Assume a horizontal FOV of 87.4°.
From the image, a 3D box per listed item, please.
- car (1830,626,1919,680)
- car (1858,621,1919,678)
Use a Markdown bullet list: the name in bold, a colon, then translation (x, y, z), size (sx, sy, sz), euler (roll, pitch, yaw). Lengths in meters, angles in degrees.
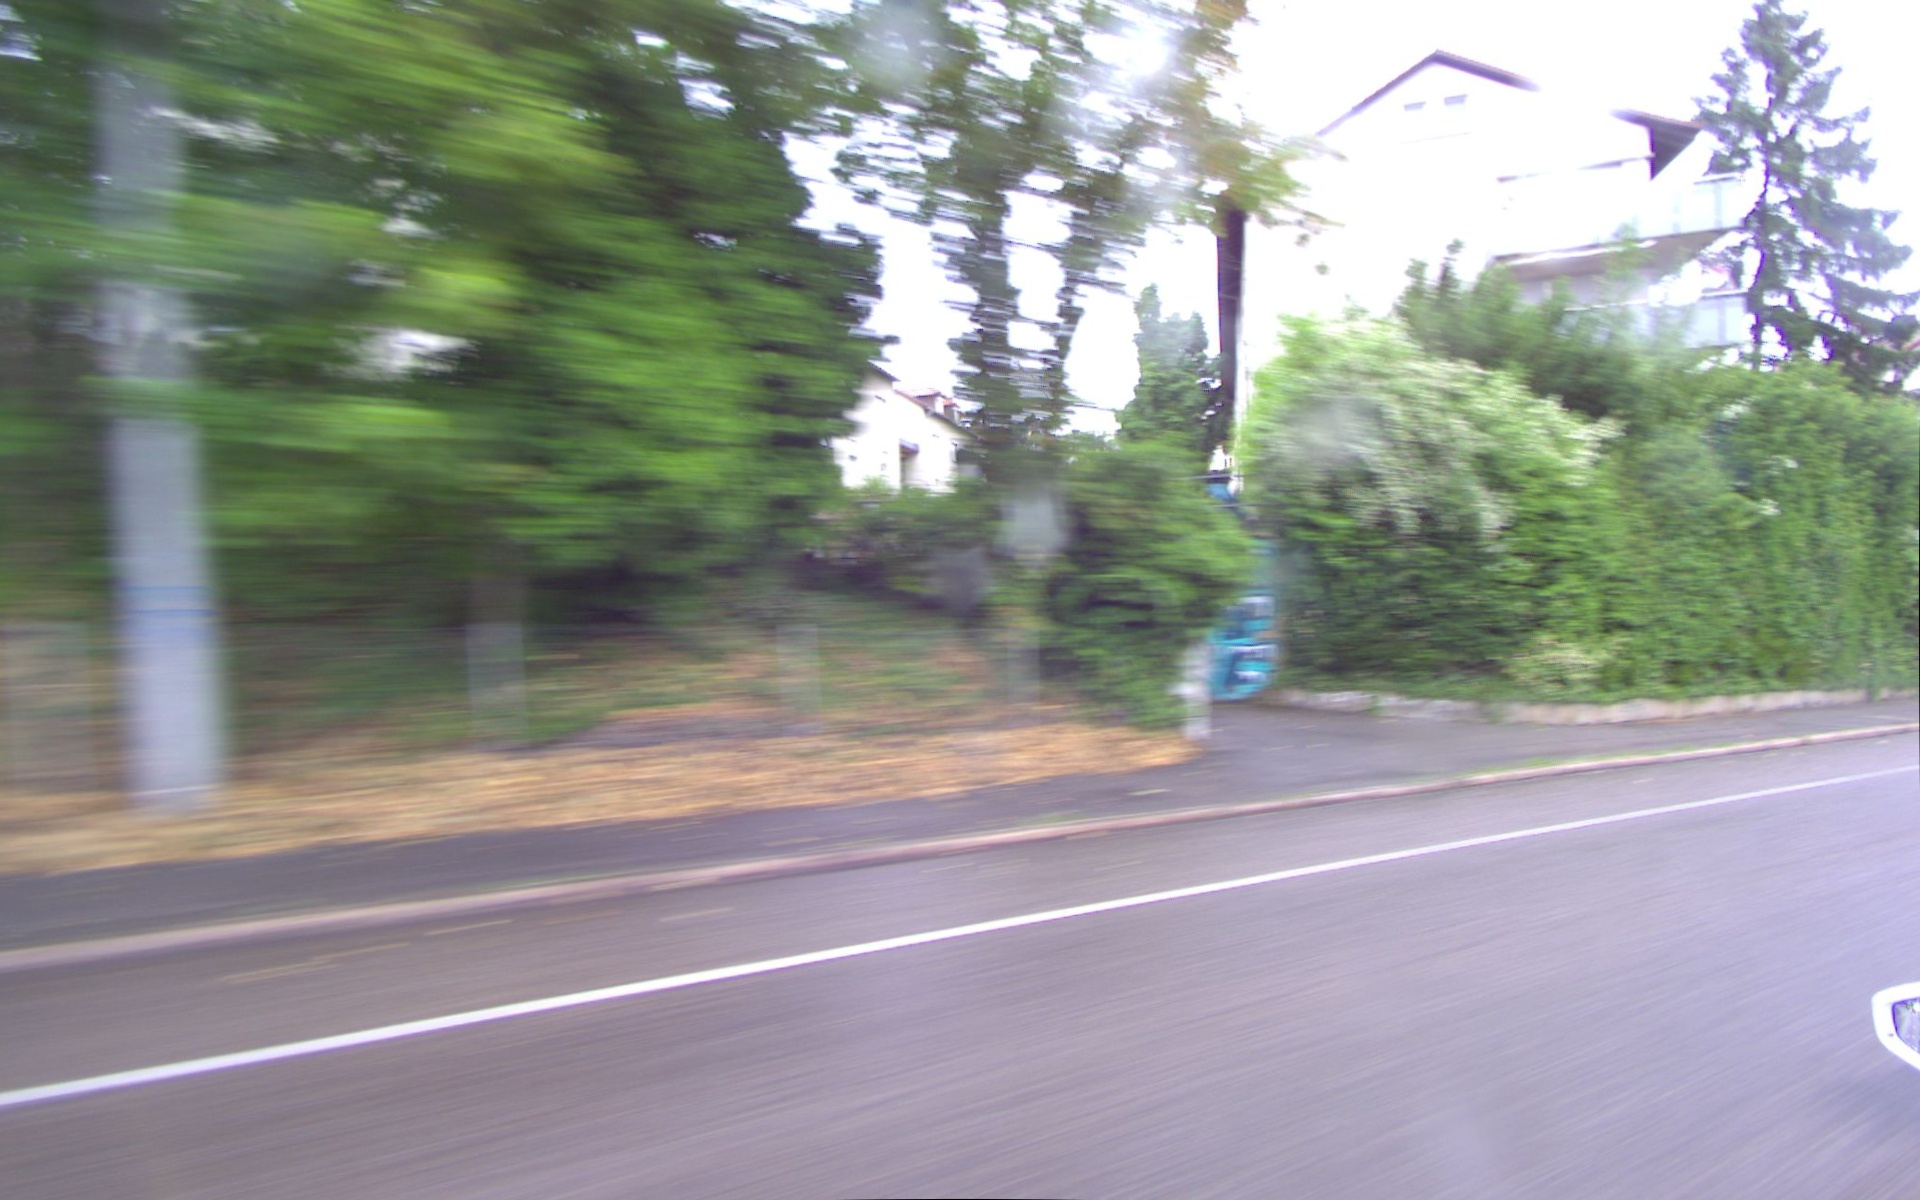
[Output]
- **car**: translation (26.692, 1.484, 27.859), size (1.700, 1.424, 3.606), euler (2, -1, -36)
- **car**: translation (29.211, 1.480, 29.111), size (1.793, 1.624, 4.428), euler (0, 0, -30)
